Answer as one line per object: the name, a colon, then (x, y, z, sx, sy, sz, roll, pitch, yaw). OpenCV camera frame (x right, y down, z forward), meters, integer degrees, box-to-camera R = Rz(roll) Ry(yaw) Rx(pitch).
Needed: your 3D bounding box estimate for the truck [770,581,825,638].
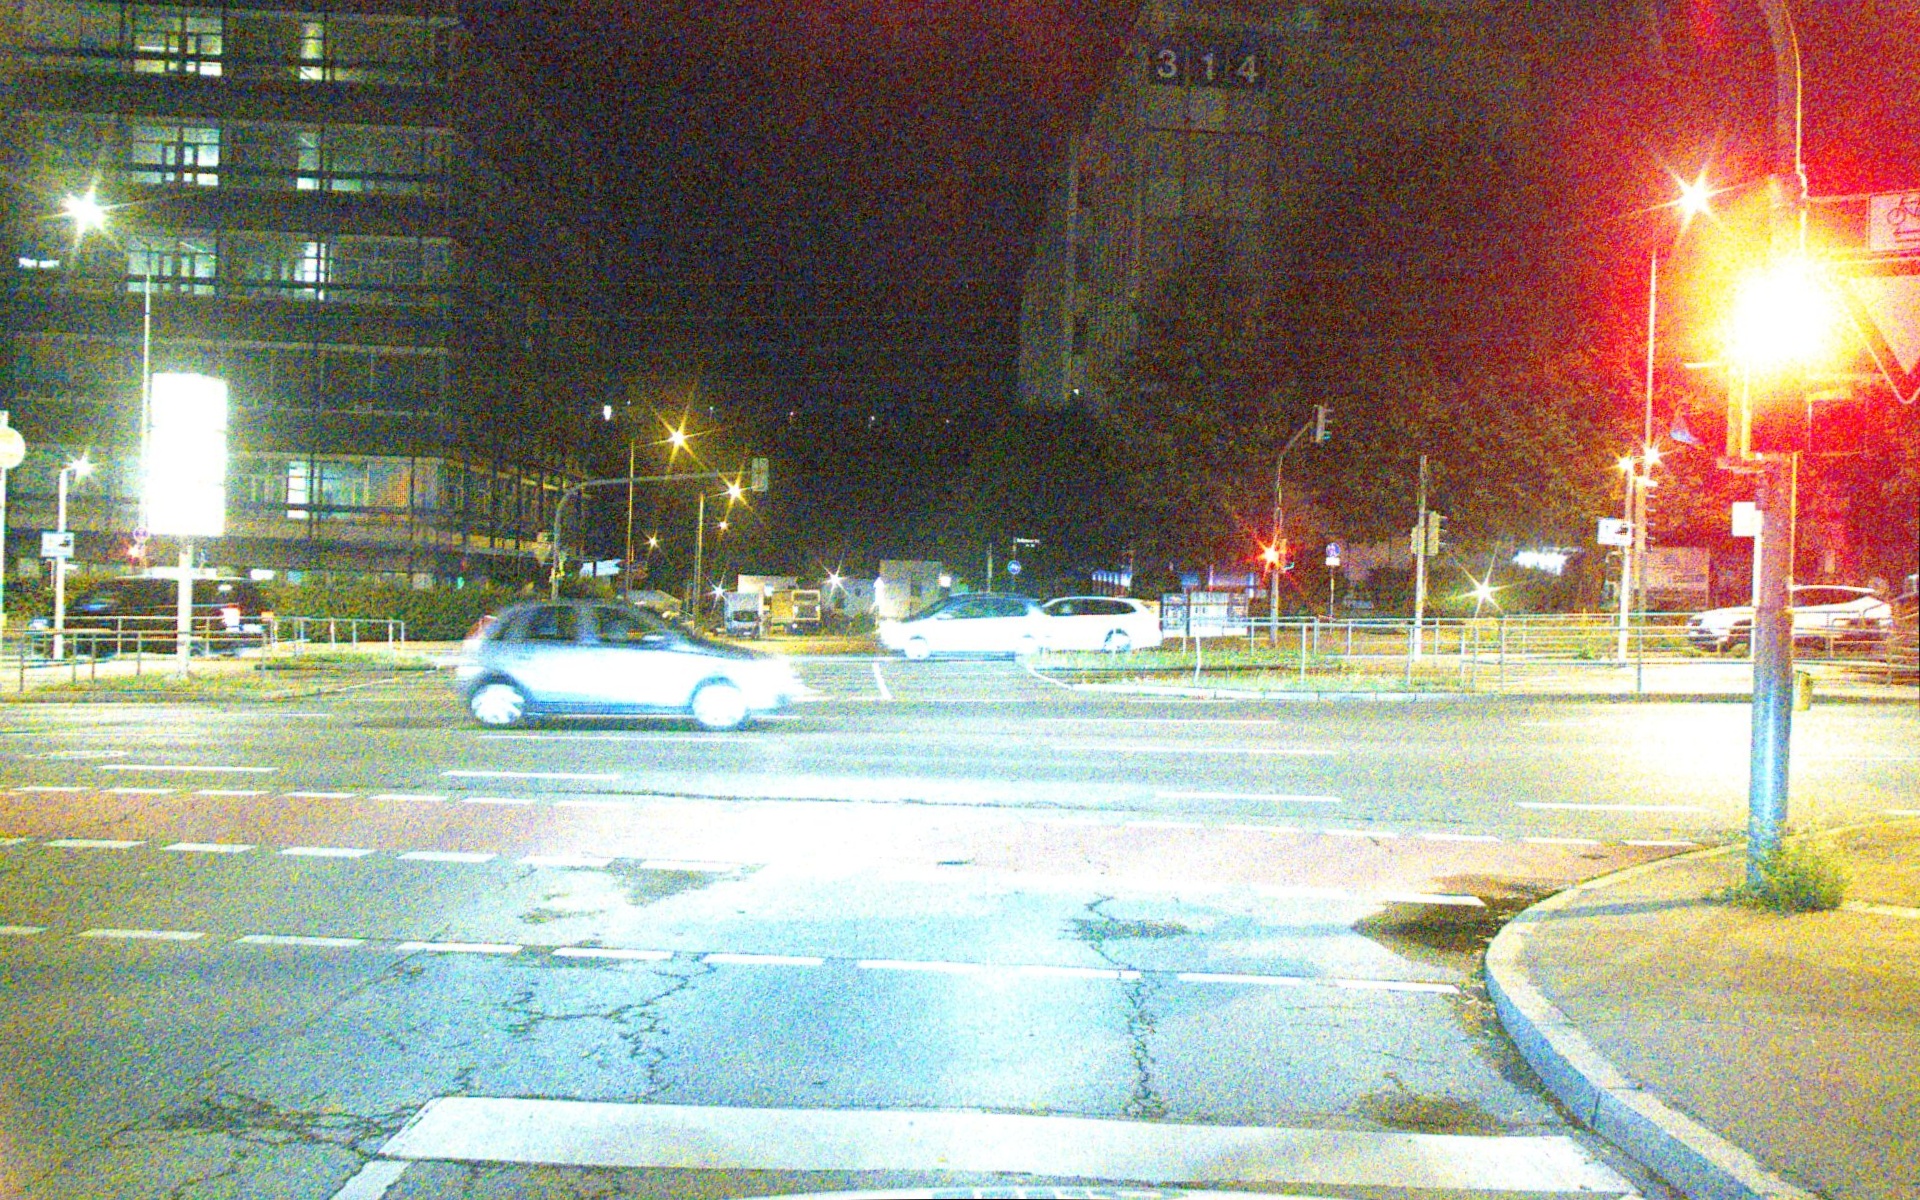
truck: (-14.645, 0.844, 148.592, 3.307, 4.927, 7.868, 2, -1, -17)

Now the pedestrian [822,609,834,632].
pedestrian: (-11.749, 1.822, 147.399, 0.836, 1.945, 1.001, 2, -1, -18)

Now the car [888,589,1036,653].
car: (0.084, 0.536, 43.668, 3.738, 1.660, 1.813, 0, 0, 5)

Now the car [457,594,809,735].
car: (-3.646, 0.705, 18.834, 3.610, 1.445, 1.643, -1, 1, 3)

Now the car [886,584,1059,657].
car: (0.322, 0.459, 37.134, 3.755, 1.512, 1.869, 1, -1, 2)

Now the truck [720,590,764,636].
truck: (-15.764, 0.940, 119.267, 2.377, 3.143, 6.414, 2, -1, -14)

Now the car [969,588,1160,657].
car: (2.501, 0.526, 39.989, 4.479, 1.512, 1.779, 1, 0, 2)

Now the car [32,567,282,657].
car: (-18.502, 0.286, 38.246, 4.840, 1.917, 1.869, 1, -1, 2)

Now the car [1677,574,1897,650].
car: (19.769, 0.300, 39.653, 4.307, 1.672, 1.941, 1, -1, 1)
